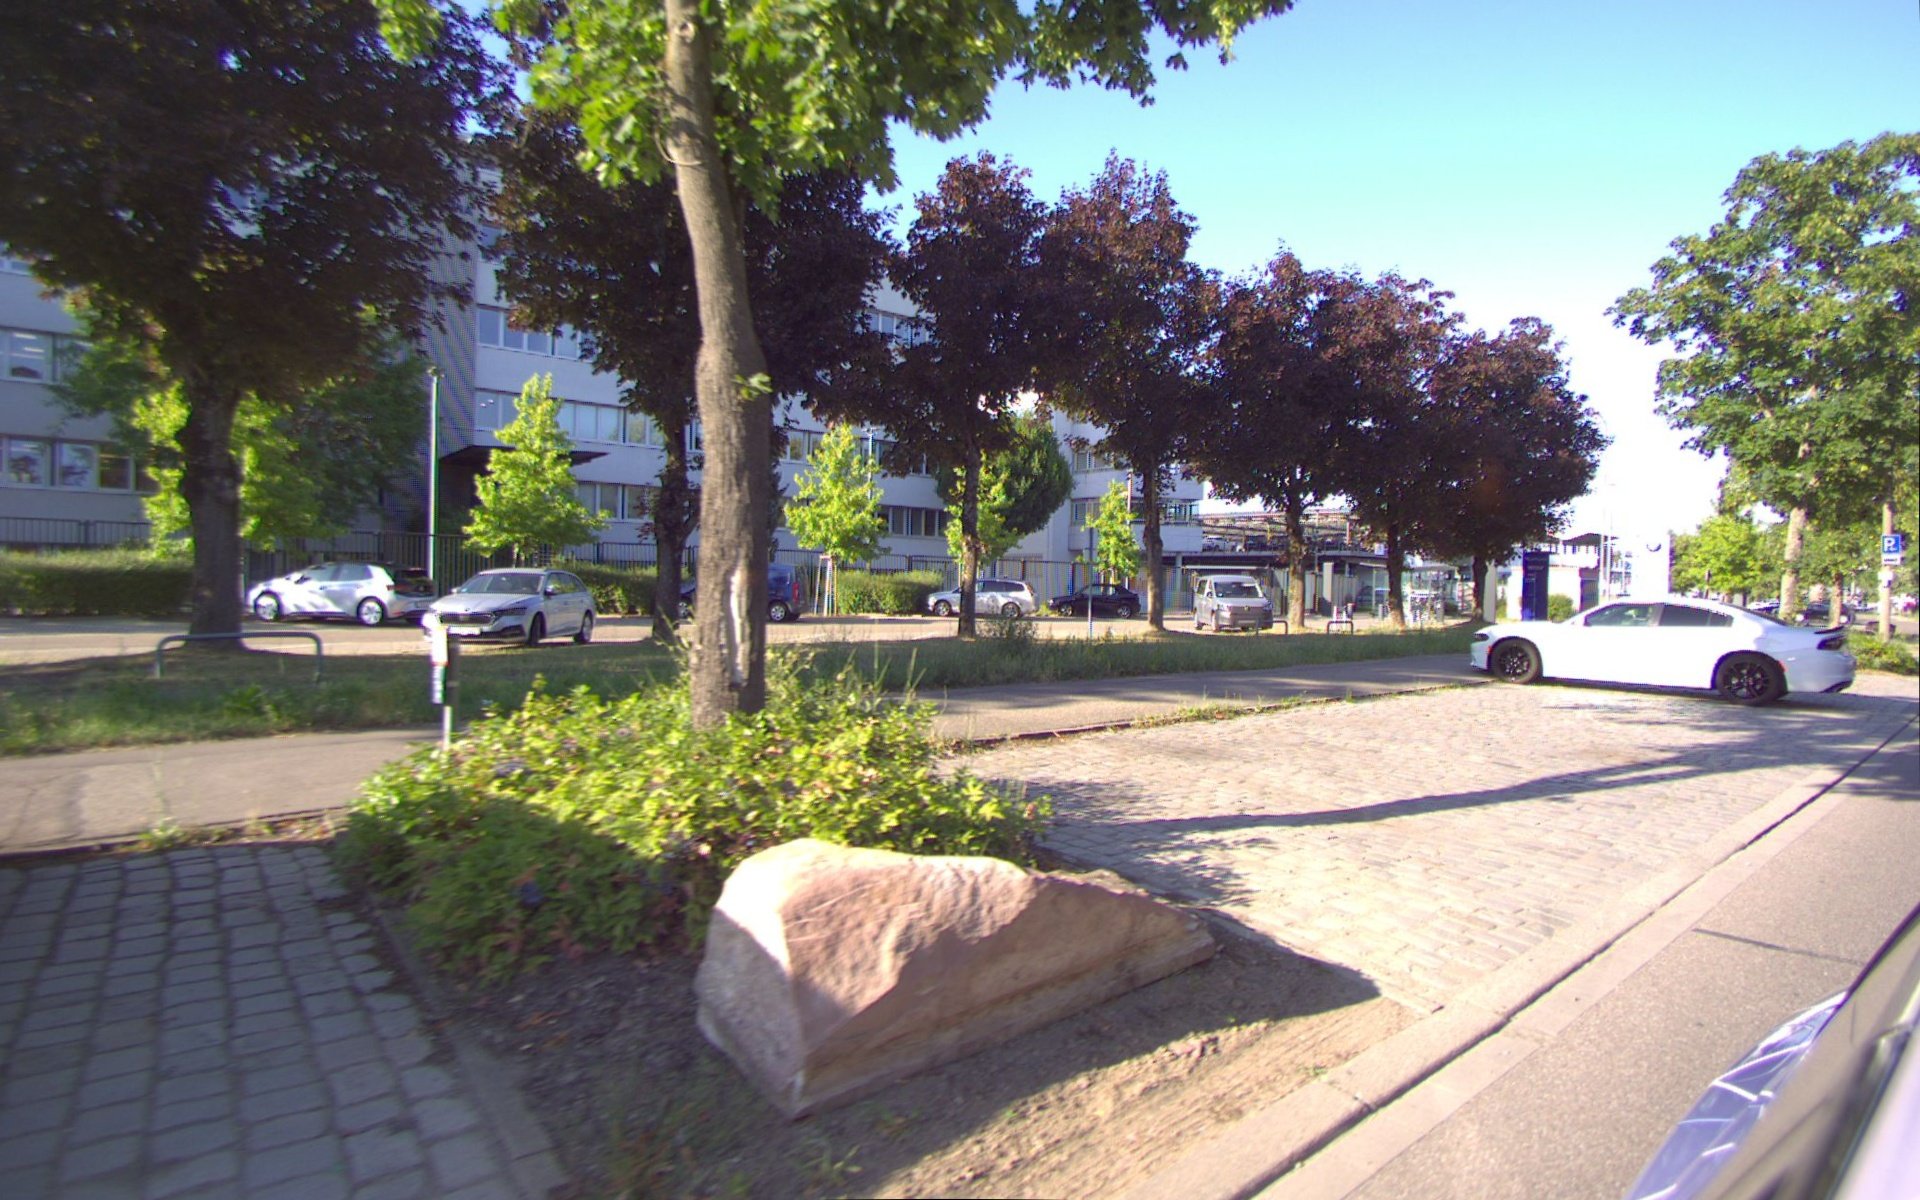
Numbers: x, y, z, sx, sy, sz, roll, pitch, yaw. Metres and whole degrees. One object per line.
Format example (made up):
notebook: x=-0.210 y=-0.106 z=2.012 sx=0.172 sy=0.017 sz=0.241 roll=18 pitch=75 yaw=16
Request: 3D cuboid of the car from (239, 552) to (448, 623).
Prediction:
car: x=-14.984 y=-0.323 z=24.676 sx=4.234 sy=1.546 sz=1.763 roll=2 pitch=1 yaw=10

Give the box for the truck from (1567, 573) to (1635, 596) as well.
truck: x=110.775 y=-2.696 z=175.043 sx=3.226 sy=3.689 sz=10.144 roll=1 pitch=2 yaw=-18

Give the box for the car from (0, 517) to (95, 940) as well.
car: x=-3.959 y=0.501 z=2.614 sx=1.961 sy=1.497 sz=4.379 roll=0 pitch=4 yaw=-32

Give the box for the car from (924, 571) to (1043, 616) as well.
car: x=0.912 y=-0.277 z=38.196 sx=4.246 sy=1.548 sz=1.801 roll=2 pitch=1 yaw=12

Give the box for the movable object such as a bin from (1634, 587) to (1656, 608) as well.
movable object such as a bin: x=47.287 y=-0.176 z=69.874 sx=1.016 sy=1.434 sz=0.850 roll=1 pitch=-1 yaw=-20

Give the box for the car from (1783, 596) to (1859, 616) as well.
car: x=68.743 y=0.490 z=80.910 sx=4.471 sy=1.421 sz=2.006 roll=2 pitch=1 yaw=37

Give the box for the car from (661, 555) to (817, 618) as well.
car: x=-6.890 y=-0.434 z=31.732 sx=4.419 sy=1.772 sz=1.764 roll=2 pitch=1 yaw=7

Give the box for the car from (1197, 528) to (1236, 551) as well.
car: x=26.930 y=-6.327 z=106.013 sx=4.128 sy=2.128 sz=1.996 roll=1 pitch=-1 yaw=-41

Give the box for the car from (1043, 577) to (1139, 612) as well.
car: x=5.508 y=-0.248 z=42.701 sx=3.932 sy=1.371 sz=1.803 roll=2 pitch=1 yaw=8

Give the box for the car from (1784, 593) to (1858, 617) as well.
car: x=72.441 y=0.393 z=85.189 sx=4.692 sy=1.773 sz=2.158 roll=3 pitch=1 yaw=42

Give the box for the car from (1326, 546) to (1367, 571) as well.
car: x=36.203 y=-3.834 z=94.764 sx=4.128 sy=2.128 sz=1.996 roll=1 pitch=-1 yaw=-41

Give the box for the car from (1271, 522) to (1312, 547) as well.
car: x=32.516 y=-6.397 z=99.267 sx=4.128 sy=2.128 sz=1.996 roll=1 pitch=-1 yaw=-41

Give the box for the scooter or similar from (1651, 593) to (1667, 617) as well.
scooter or similar: x=38.912 y=0.274 z=56.330 sx=0.519 sy=1.288 sz=1.182 roll=2 pitch=1 yaw=42

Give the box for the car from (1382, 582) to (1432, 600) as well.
car: x=38.775 y=-0.758 z=87.722 sx=4.476 sy=1.450 sz=2.038 roll=1 pitch=1 yaw=-37

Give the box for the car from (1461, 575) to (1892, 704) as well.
car: x=10.947 y=0.474 z=15.803 sx=2.122 sy=1.593 sz=5.180 roll=0 pitch=2 yaw=-44

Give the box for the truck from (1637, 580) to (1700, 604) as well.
truck: x=115.198 y=-1.314 z=164.714 sx=3.049 sy=3.565 sz=8.274 roll=2 pitch=1 yaw=-17

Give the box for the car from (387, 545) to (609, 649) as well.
car: x=-8.162 y=-0.109 z=18.495 sx=1.961 sy=1.593 sz=4.957 roll=1 pitch=1 yaw=-2

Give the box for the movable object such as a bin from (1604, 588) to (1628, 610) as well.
movable object such as a bin: x=46.214 y=-0.049 z=71.254 sx=1.211 sy=1.502 sz=1.021 roll=2 pitch=1 yaw=44

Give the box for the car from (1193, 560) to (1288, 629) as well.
car: x=8.831 y=-0.172 z=32.278 sx=1.965 sy=1.958 sz=4.947 roll=2 pitch=0 yaw=5
